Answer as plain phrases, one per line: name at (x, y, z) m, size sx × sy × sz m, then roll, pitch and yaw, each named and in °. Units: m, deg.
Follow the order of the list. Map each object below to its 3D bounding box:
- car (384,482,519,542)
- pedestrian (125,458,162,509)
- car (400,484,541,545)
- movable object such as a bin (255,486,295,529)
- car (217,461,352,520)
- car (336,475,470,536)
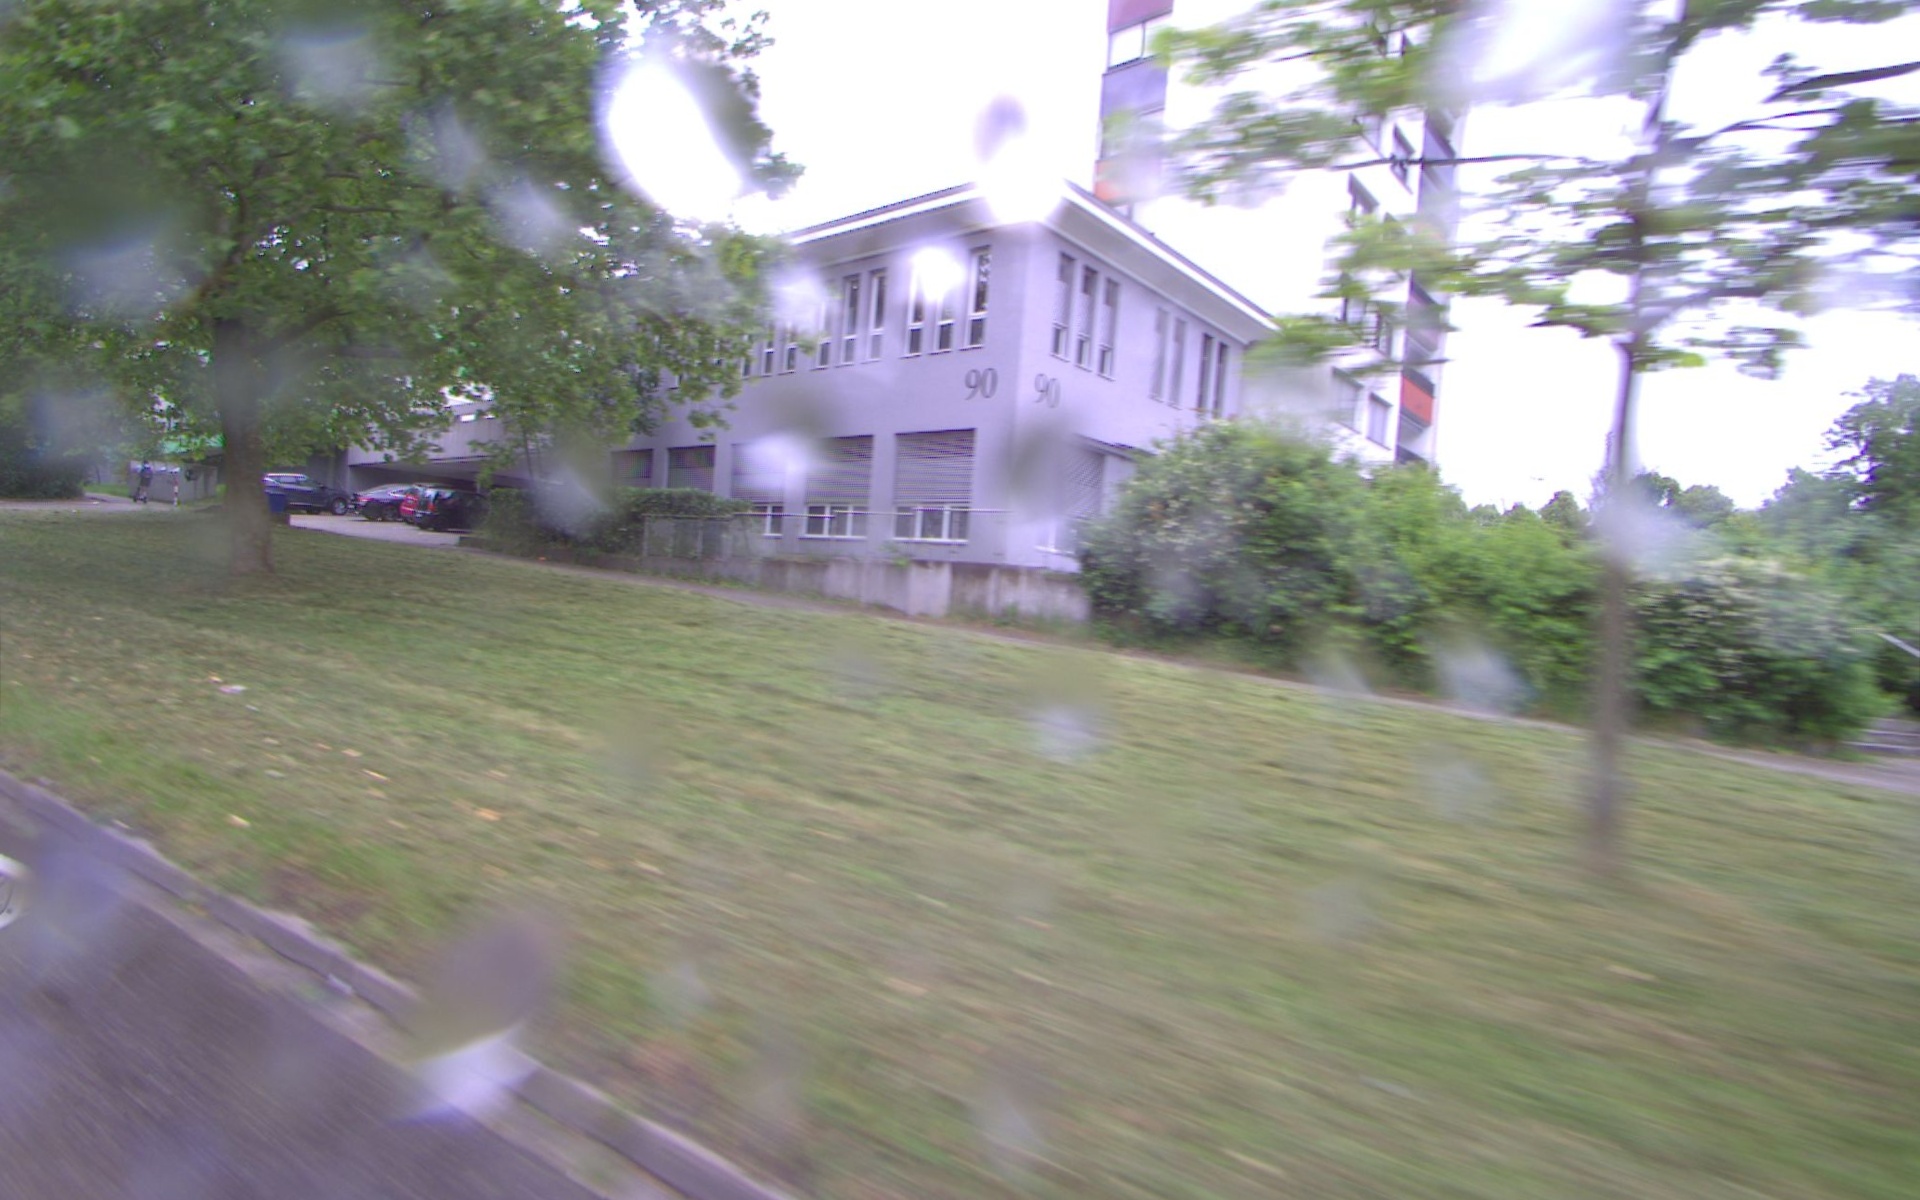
car at (-18.959, -3.270, 37.626) m, size 1.930 × 1.684 × 3.981 m, roll 8°, pitch 2°, yaw 38°
pedestrian at (-31.107, -4.434, 38.321) m, size 0.834 × 1.773 × 0.663 m, roll 6°, pitch 3°, yaw 16°
car at (-17.365, -3.024, 35.806) m, size 1.972 × 1.661 × 3.978 m, roll 7°, pitch 2°, yaw 41°
movable object such as a bin at (-20.425, -2.761, 30.019) m, size 0.651 × 1.134 × 0.669 m, roll 7°, pitch -1°, yaw 29°
car at (-27.063, -4.367, 40.433) m, size 1.965 × 1.773 × 3.992 m, roll 7°, pitch 2°, yaw 27°
car at (-21.216, -3.577, 38.442) m, size 1.972 × 1.773 × 3.978 m, roll 7°, pitch 2°, yaw 41°
